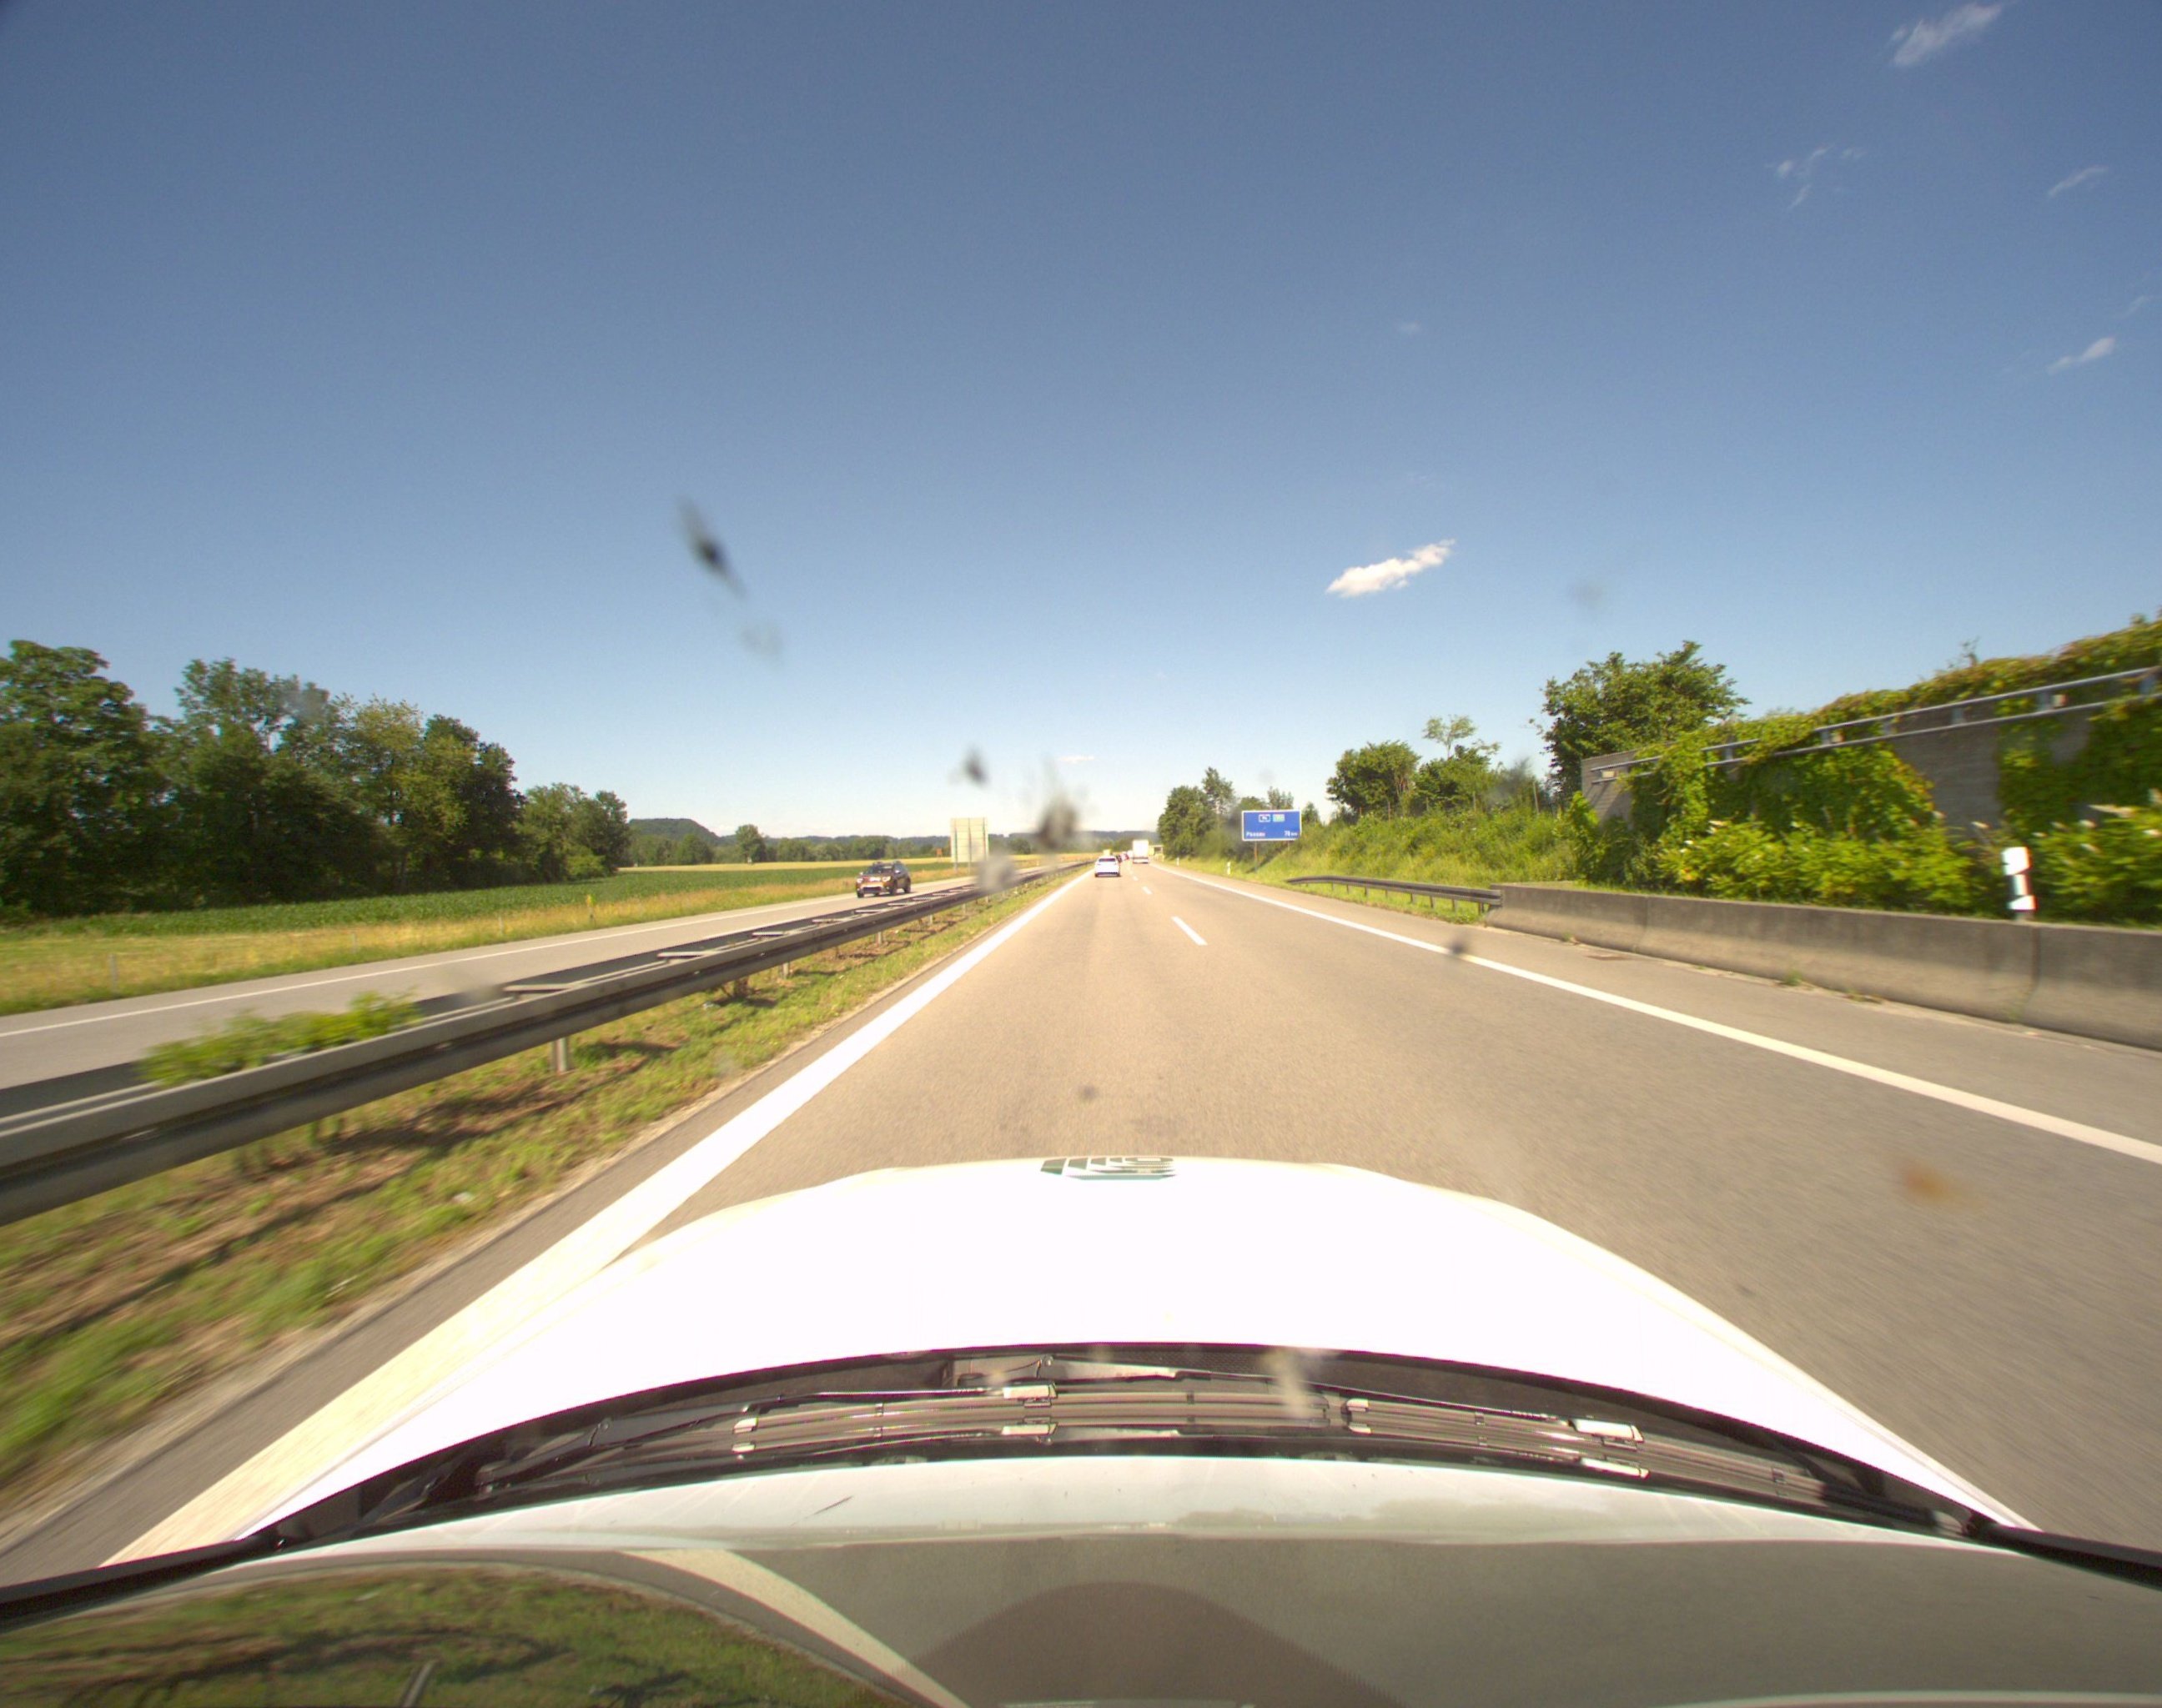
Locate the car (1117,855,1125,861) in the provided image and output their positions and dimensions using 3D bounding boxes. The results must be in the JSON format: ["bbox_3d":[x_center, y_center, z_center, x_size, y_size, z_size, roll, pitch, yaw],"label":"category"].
[{"bbox_3d":[10.036,0.994,203.973,1.763,1.421,4.369,-1,0,4],"label":"car"}]

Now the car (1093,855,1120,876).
[{"bbox_3d":[1.830,0.782,57.643,1.833,1.421,5.257,0,0,2],"label":"car"}]

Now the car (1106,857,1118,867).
[{"bbox_3d":[4.539,1.213,119.855,1.764,1.421,4.497,-1,0,2],"label":"car"}]

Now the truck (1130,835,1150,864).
[{"bbox_3d":[10.014,-0.723,138.433,3.138,4.612,8.916,-2,0,4],"label":"truck"}]

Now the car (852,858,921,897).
[{"bbox_3d":[-9.443,1.087,39.971,1.986,1.661,4.777,-3,0,2],"label":"car"}]

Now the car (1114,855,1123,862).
[{"bbox_3d":[7.569,0.931,163.758,1.763,1.421,4.369,-1,0,4],"label":"car"}]

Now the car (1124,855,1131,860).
[{"bbox_3d":[12.766,0.955,223.669,1.763,1.421,4.370,-1,0,4],"label":"car"}]
